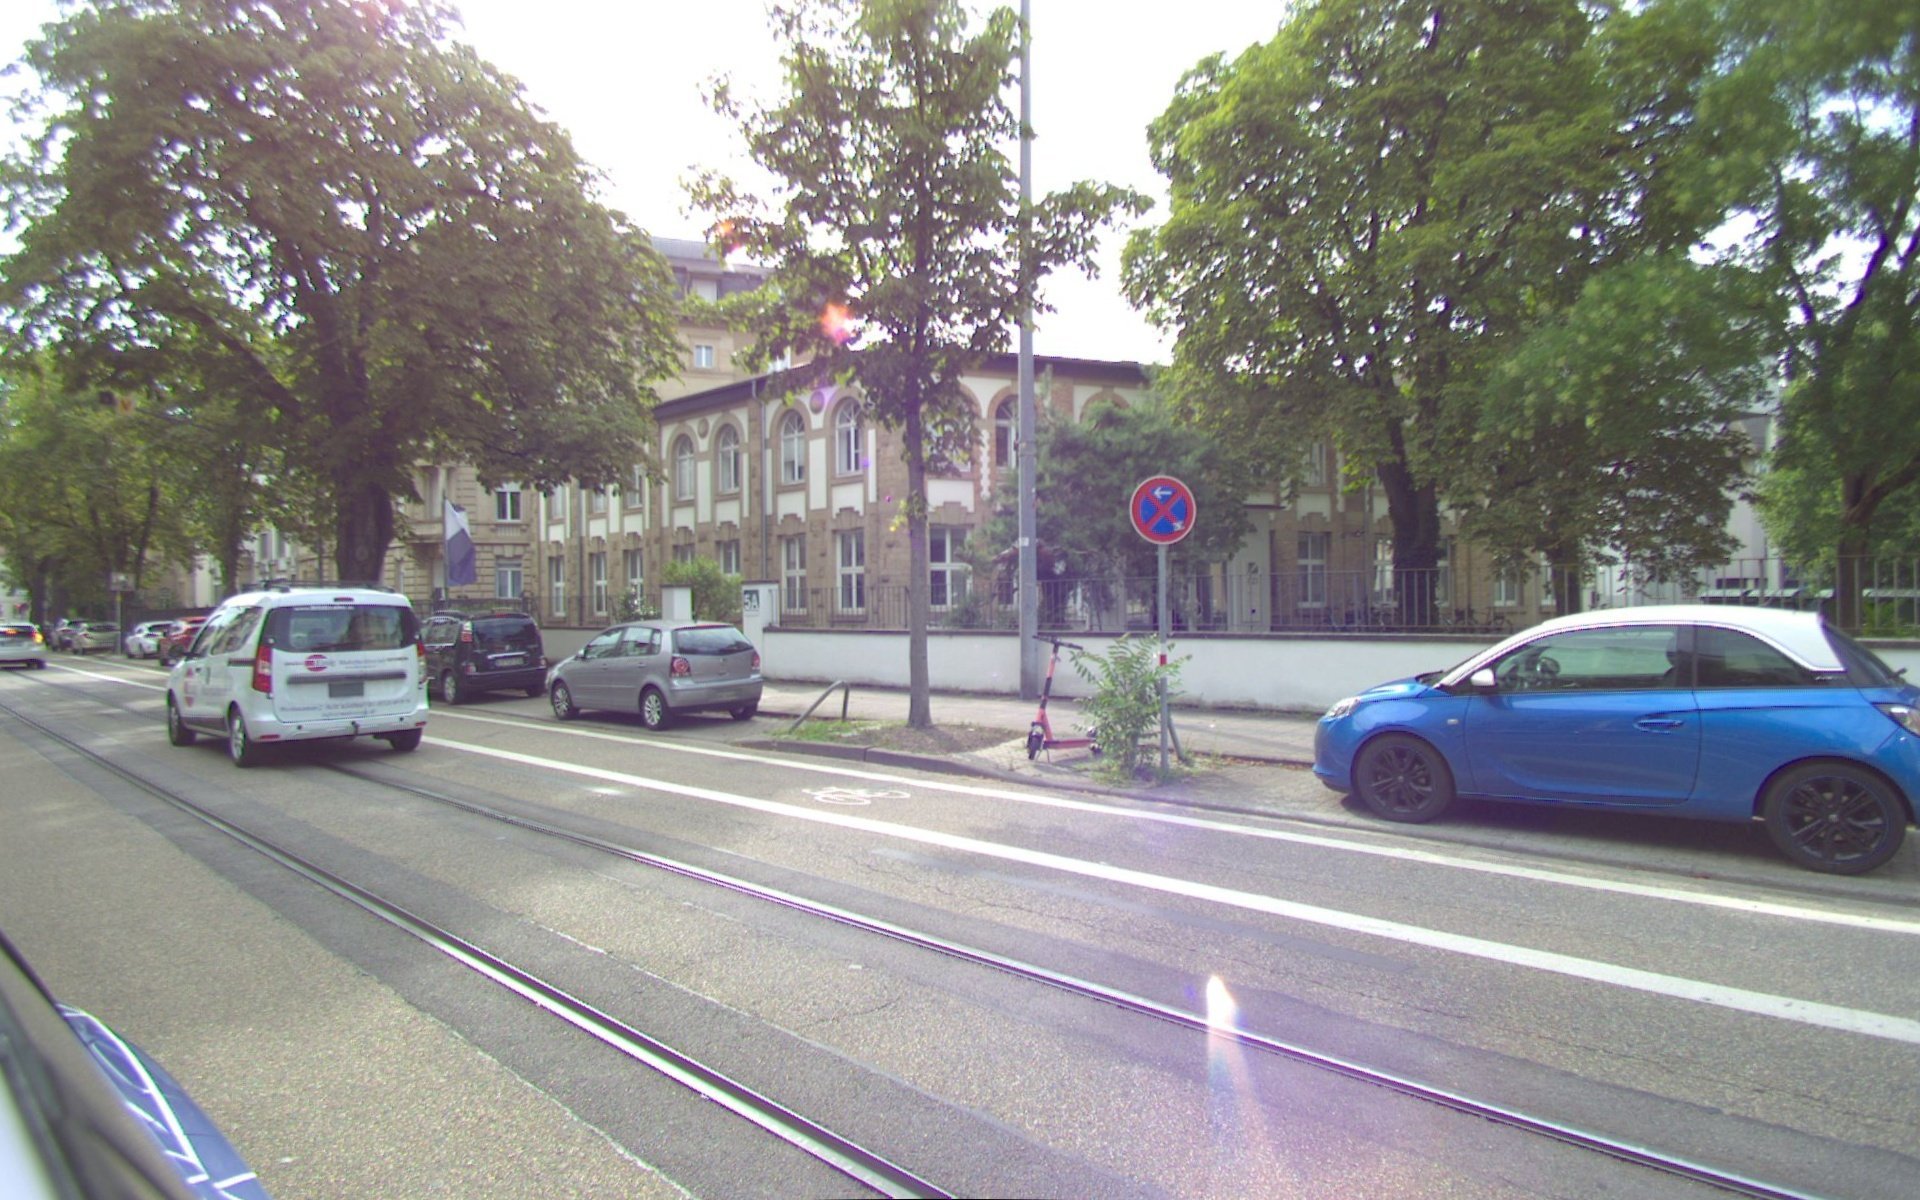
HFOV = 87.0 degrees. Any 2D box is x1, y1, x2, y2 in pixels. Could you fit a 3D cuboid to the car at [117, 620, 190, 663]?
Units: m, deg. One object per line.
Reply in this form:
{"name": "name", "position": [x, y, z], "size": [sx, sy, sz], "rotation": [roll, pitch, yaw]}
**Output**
{"name": "car", "position": [-32.299, 1.643, 40.505], "size": [3.904, 1.613, 1.637], "rotation": [-2, -1, 41]}

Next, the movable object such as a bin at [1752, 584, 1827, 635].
{"name": "movable object such as a bin", "position": [23.951, 0.272, 29.238], "size": [1.103, 1.441, 1.288], "rotation": [0, 0, -21]}

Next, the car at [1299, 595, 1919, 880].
{"name": "car", "position": [4.389, 0.745, 6.882], "size": [3.601, 1.476, 1.611], "rotation": [-2, -1, 41]}

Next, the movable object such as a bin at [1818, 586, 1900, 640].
{"name": "movable object such as a bin", "position": [24.659, 0.355, 27.776], "size": [1.103, 1.441, 1.288], "rotation": [0, 0, -21]}

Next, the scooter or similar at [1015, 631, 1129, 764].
{"name": "scooter or similar", "position": [1.093, 0.928, 9.854], "size": [0.988, 1.176, 0.370], "rotation": [-3, 0, -24]}

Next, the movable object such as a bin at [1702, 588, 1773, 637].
{"name": "movable object such as a bin", "position": [23.442, 0.368, 30.535], "size": [1.103, 1.441, 1.288], "rotation": [0, 0, -21]}

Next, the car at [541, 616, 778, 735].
{"name": "car", "position": [-4.393, 0.997, 14.567], "size": [3.572, 1.476, 1.611], "rotation": [-2, -1, 41]}

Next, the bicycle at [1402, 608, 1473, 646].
{"name": "bicycle", "position": [14.132, 0.785, 29.993], "size": [0.584, 1.051, 1.984], "rotation": [-1, 0, -23]}

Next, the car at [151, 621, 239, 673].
{"name": "car", "position": [-26.017, 1.556, 34.373], "size": [3.904, 1.646, 1.637], "rotation": [-2, -1, 41]}

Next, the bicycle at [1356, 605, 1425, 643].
{"name": "bicycle", "position": [12.531, 0.692, 29.504], "size": [0.584, 1.051, 1.984], "rotation": [-1, 0, -23]}

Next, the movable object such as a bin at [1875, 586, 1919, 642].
{"name": "movable object such as a bin", "position": [25.035, 0.352, 26.456], "size": [1.103, 1.441, 1.288], "rotation": [0, 0, -21]}

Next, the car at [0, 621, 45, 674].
{"name": "car", "position": [-30.629, 1.486, 32.245], "size": [4.332, 1.624, 1.714], "rotation": [-1, -1, 42]}

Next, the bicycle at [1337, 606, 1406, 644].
{"name": "bicycle", "position": [11.834, 0.708, 29.172], "size": [0.584, 1.051, 1.984], "rotation": [-1, 0, -23]}

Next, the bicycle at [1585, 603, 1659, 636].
{"name": "bicycle", "position": [21.496, 0.623, 32.911], "size": [0.584, 1.051, 1.984], "rotation": [-1, 0, -23]}

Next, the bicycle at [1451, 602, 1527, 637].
{"name": "bicycle", "position": [16.348, 0.611, 31.293], "size": [1.978, 1.051, 0.586], "rotation": [-1, 0, 44]}

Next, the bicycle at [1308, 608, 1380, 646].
{"name": "bicycle", "position": [10.957, 0.755, 28.937], "size": [0.584, 1.051, 1.984], "rotation": [-1, 0, -30]}

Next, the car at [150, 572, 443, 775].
{"name": "car", "position": [-7.700, 0.719, 11.565], "size": [4.376, 1.898, 1.714], "rotation": [-2, -1, 42]}

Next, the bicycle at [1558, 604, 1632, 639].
{"name": "bicycle", "position": [20.279, 0.670, 32.362], "size": [0.584, 1.051, 1.984], "rotation": [-1, 0, -23]}

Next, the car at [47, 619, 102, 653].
{"name": "car", "position": [-45.729, 1.840, 52.255], "size": [3.904, 1.646, 1.637], "rotation": [-2, -1, 41]}

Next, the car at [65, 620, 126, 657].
{"name": "car", "position": [-40.389, 1.779, 47.252], "size": [3.904, 1.646, 1.637], "rotation": [-2, -1, 41]}

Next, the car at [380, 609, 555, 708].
{"name": "car", "position": [-9.290, 1.032, 18.975], "size": [3.723, 1.646, 1.637], "rotation": [-2, -1, 41]}

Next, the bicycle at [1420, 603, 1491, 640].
{"name": "bicycle", "position": [14.825, 0.629, 30.331], "size": [0.584, 1.051, 1.984], "rotation": [-1, 0, -23]}
